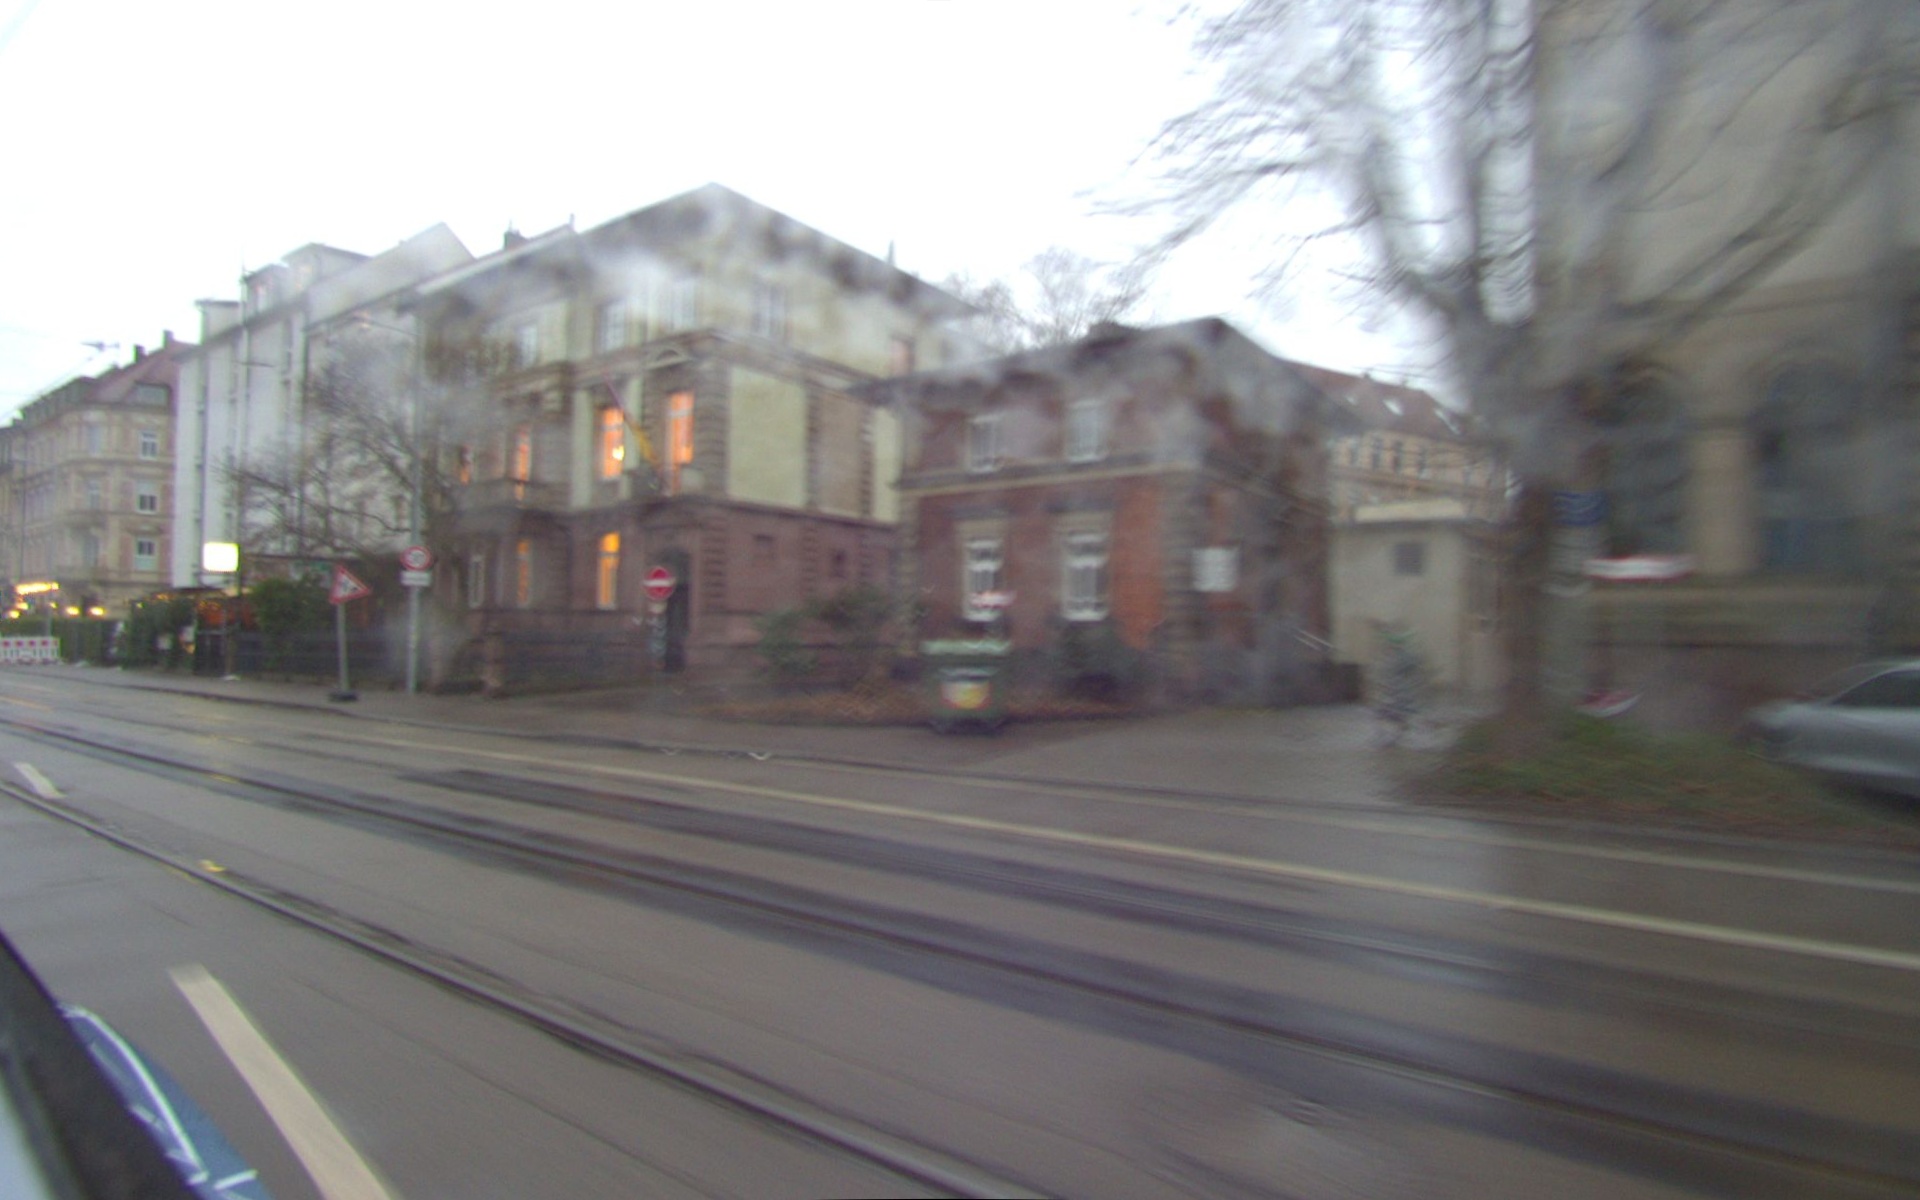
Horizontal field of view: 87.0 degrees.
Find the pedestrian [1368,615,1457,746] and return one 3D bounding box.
[{"bbox_3d":[6.185,1.070,13.883,0.939,1.716,0.919,-1,0,14],"label":"pedestrian"}]

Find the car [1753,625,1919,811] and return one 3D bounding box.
[{"bbox_3d":[9.542,1.087,9.185,1.754,1.603,4.176,-1,0,7],"label":"car"}]

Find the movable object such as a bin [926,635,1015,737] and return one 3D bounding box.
[{"bbox_3d":[0.146,1.304,15.612,1.325,1.475,0.986,-1,0,-1],"label":"movable object such as a bin"}]
